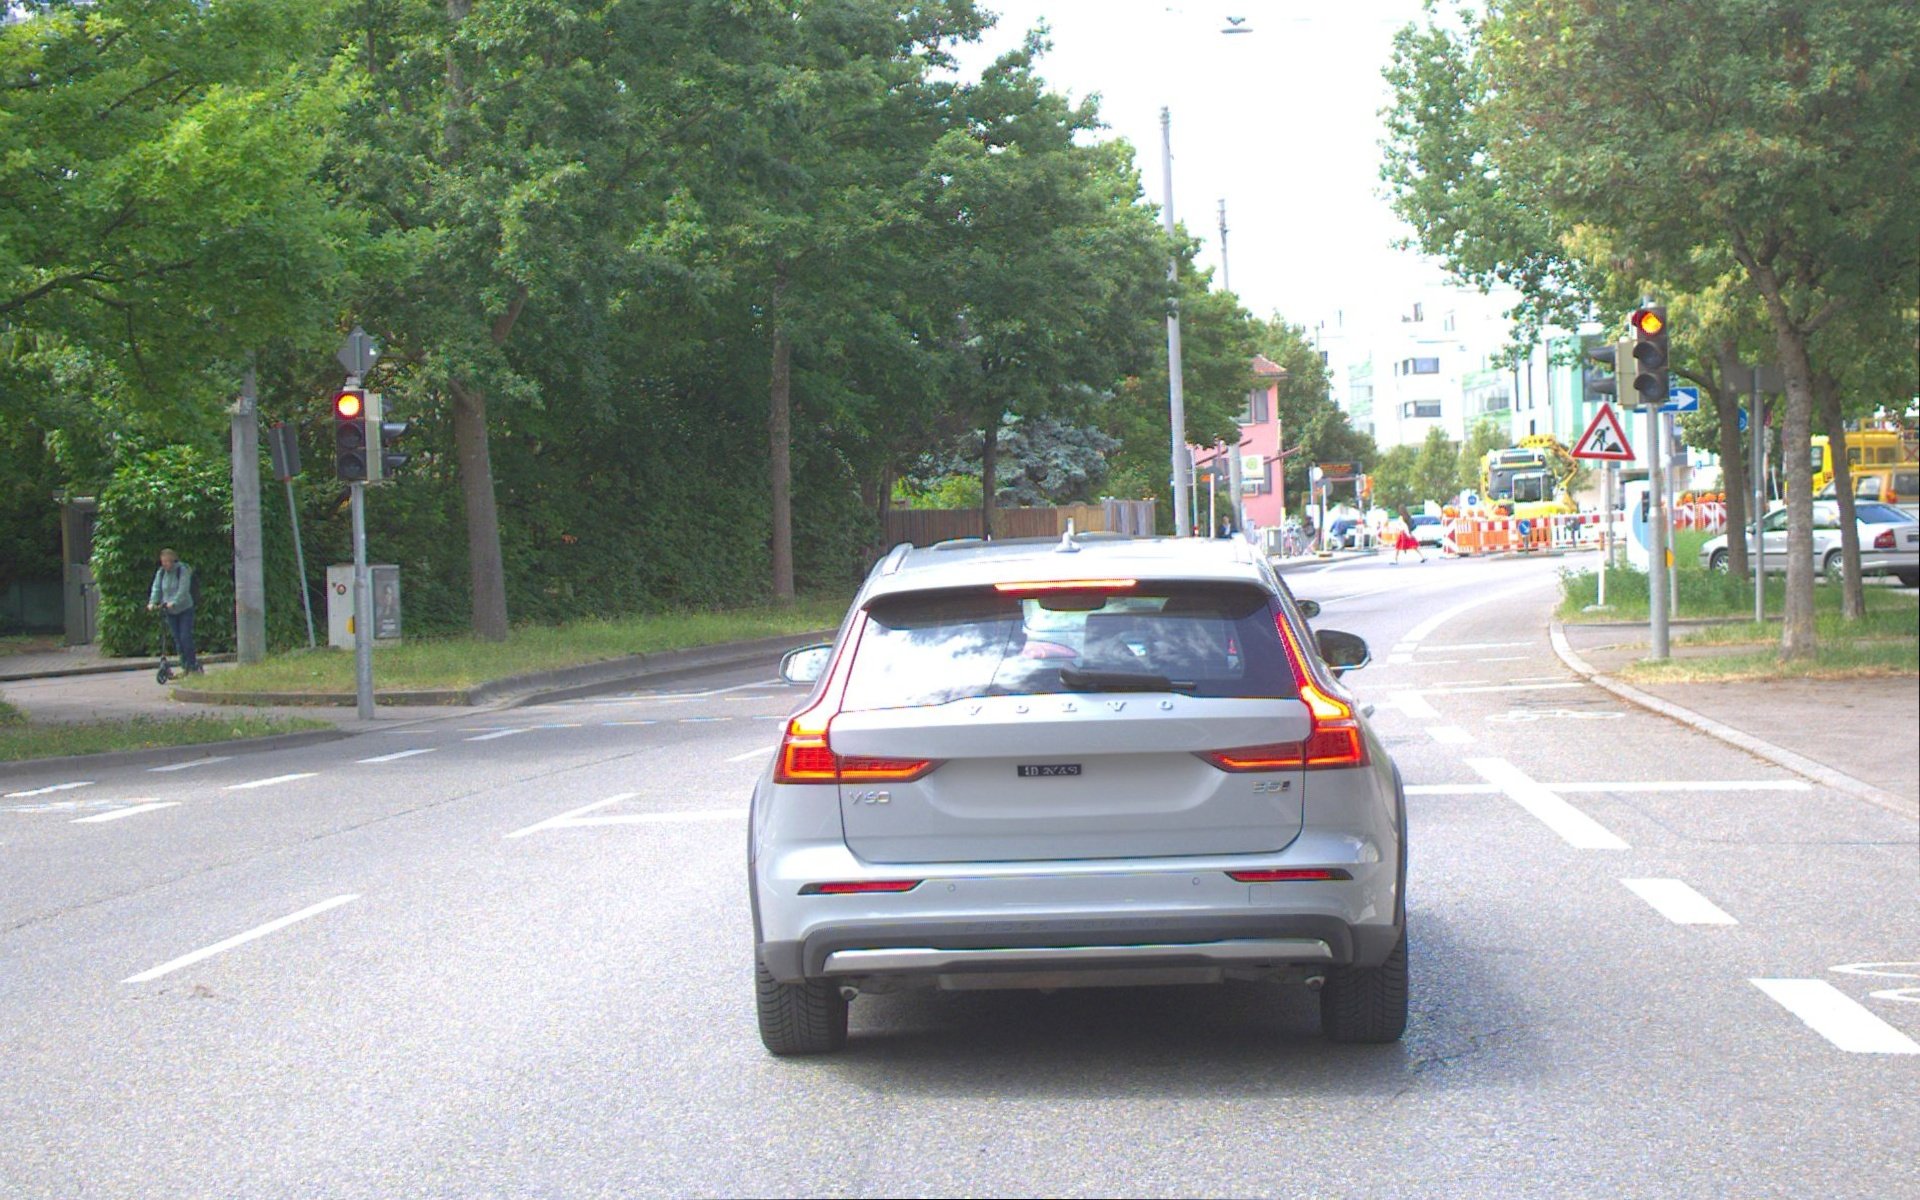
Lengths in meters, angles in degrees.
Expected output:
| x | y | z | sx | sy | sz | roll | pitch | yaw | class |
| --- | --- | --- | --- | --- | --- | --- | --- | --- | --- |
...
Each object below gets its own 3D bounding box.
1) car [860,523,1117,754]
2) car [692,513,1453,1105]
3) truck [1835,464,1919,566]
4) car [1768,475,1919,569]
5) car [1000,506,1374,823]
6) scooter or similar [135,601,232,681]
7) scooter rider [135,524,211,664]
| x | y | z | sx | sy | sz | roll | pitch | yaw | class |
| --- | --- | --- | --- | --- | --- | --- | --- | --- | --- |
| 0.167 | 0.273 | 26.840 | 1.804 | 1.611 | 4.329 | 1 | 0 | -1 | car |
| 0.447 | 0.498 | 11.120 | 1.956 | 1.518 | 4.329 | -1 | 1 | 4 | car |
| 20.901 | -1.740 | 71.264 | 5.597 | 2.007 | 2.089 | -1 | 0 | -33 | truck |
| 19.849 | -1.724 | 76.267 | 3.756 | 2.007 | 1.742 | -1 | 0 | -37 | car |
| 1.262 | 0.267 | 19.130 | 1.804 | 1.518 | 4.329 | 1 | 1 | 4 | car |
| -9.691 | 0.509 | 42.914 | 0.953 | 0.958 | 0.690 | -2 | 1 | -36 | scooter or similar |
| -9.809 | -0.072 | 42.843 | 0.705 | 1.721 | 0.680 | -1 | 0 | -35 | scooter rider |
